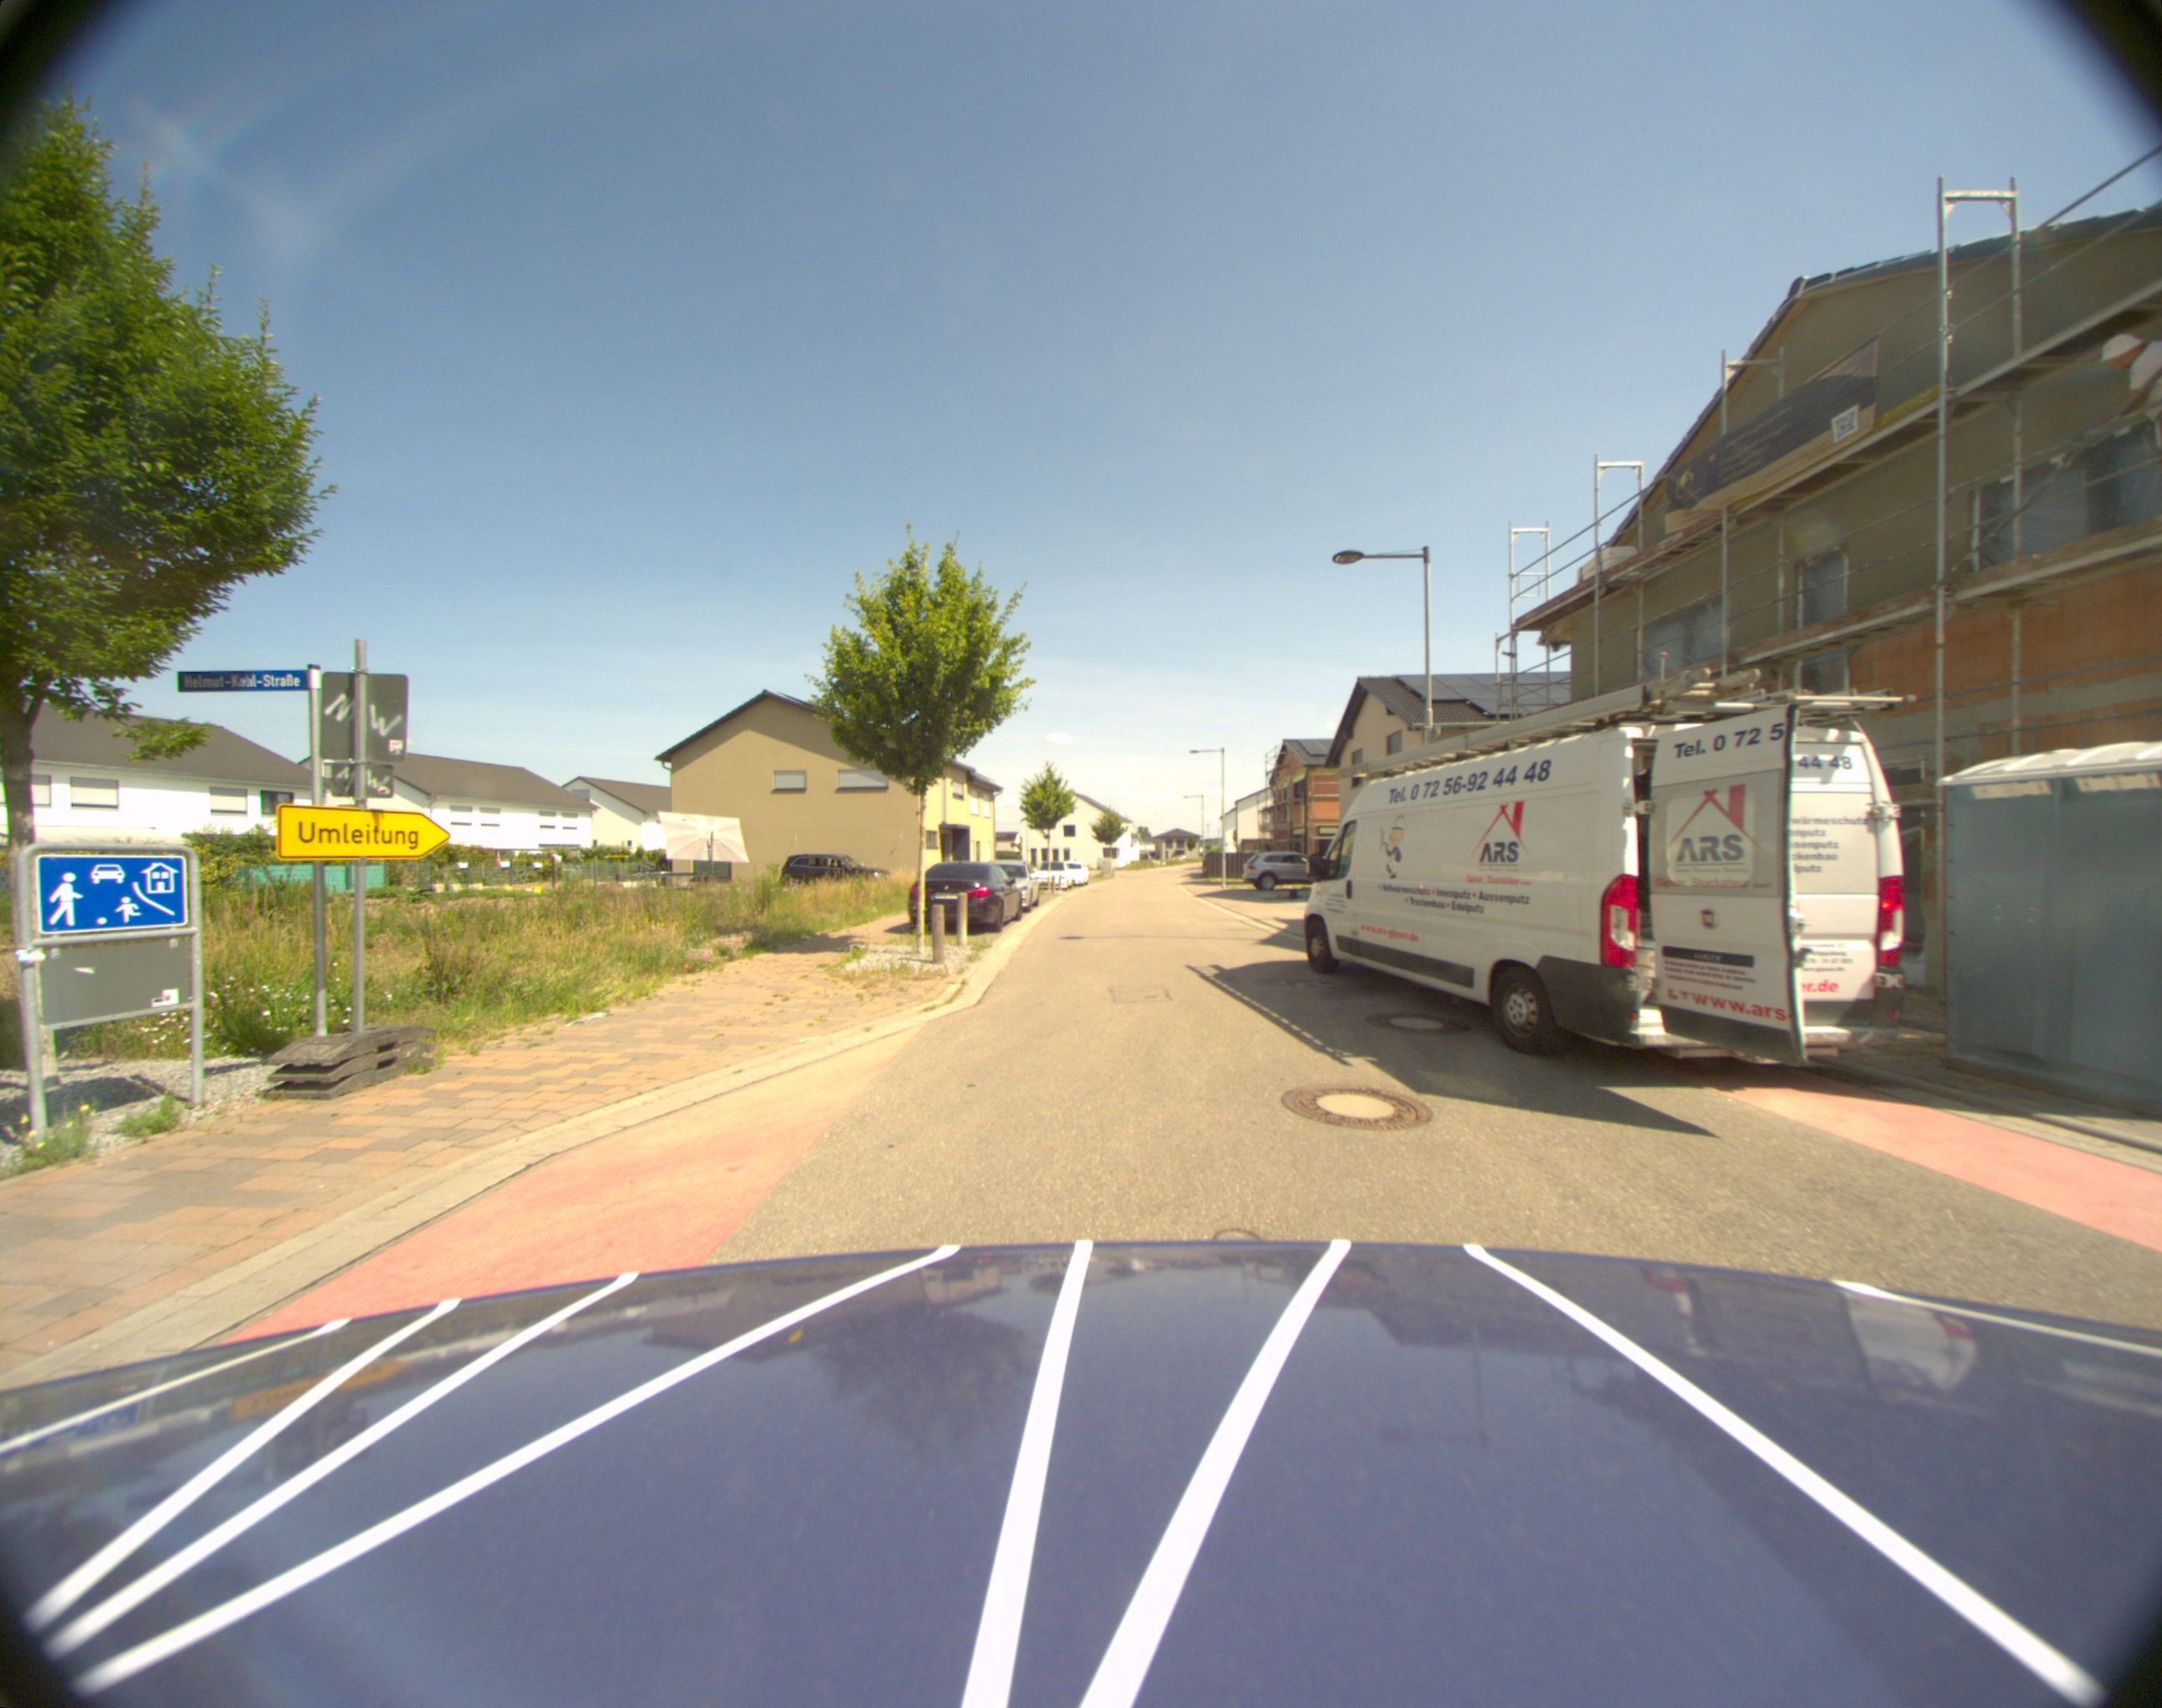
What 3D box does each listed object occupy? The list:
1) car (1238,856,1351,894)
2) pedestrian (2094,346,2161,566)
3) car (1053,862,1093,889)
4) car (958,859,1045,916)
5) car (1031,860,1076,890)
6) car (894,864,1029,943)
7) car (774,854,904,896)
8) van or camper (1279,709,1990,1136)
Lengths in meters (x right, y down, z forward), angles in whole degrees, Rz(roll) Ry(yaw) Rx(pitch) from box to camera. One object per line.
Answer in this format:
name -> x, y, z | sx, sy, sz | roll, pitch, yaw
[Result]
car -> 9.306, 0.885, 33.368 | 4.435, 1.602, 2.000 | 0, 0, 2
pedestrian -> 8.619, -3.174, 5.959 | 0.564, 1.491, 0.746 | -2, 3, -35
car -> -0.437, 1.266, 45.444 | 1.818, 1.447, 4.566 | 1, 0, 6
car -> -2.265, 0.944, 23.198 | 1.923, 1.502, 5.296 | 1, -1, 2
car -> -1.343, 1.046, 39.173 | 1.783, 1.417, 4.516 | 1, -1, 5
car -> -2.461, 0.977, 17.131 | 1.923, 1.461, 5.142 | 1, -1, 3
car -> -10.028, 0.836, 31.741 | 4.756, 1.635, 2.000 | 1, 1, 3
van or camper -> 4.212, 0.385, 7.776 | 2.279, 2.538, 6.364 | 0, 1, -4
